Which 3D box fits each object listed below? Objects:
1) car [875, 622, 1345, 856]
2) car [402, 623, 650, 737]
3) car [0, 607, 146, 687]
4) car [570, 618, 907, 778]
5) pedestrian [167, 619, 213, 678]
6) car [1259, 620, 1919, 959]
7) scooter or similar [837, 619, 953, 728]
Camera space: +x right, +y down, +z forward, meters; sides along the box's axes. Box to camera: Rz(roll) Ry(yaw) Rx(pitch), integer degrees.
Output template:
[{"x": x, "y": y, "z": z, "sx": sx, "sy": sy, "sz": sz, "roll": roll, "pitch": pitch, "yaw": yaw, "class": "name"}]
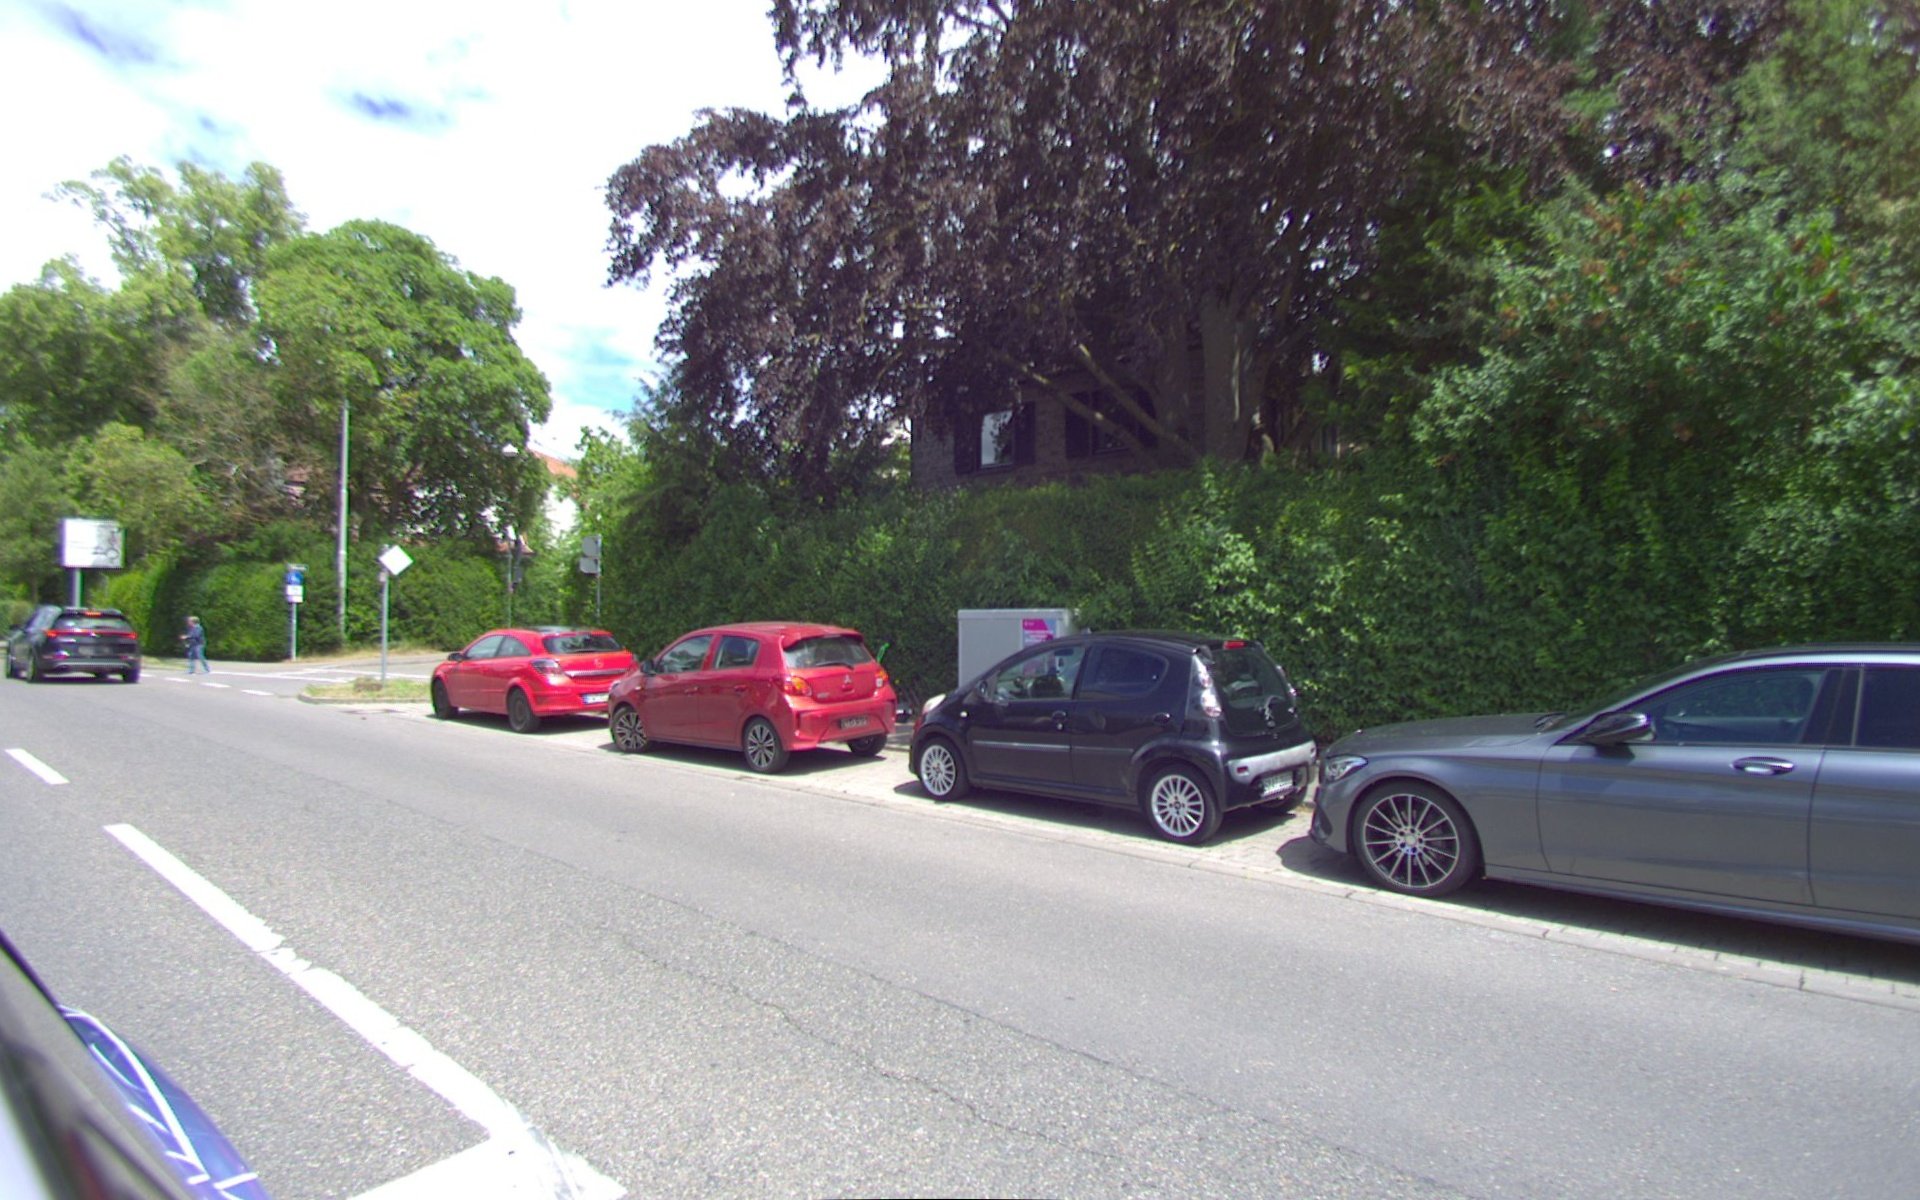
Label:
[{"x": 1.085, "y": 0.936, "z": 8.348, "sx": 3.596, "sy": 1.461, "sz": 1.578, "roll": 0, "pitch": -1, "yaw": 43, "class": "car"}, {"x": -6.566, "y": 1.063, "z": 15.051, "sx": 4.565, "sy": 1.388, "sz": 1.643, "roll": 0, "pitch": -1, "yaw": 42, "class": "car"}, {"x": -19.881, "y": 1.000, "z": 22.596, "sx": 4.148, "sy": 1.629, "sz": 1.815, "roll": 0, "pitch": -3, "yaw": 40, "class": "car"}, {"x": -2.638, "y": 0.952, "z": 11.487, "sx": 4.103, "sy": 1.461, "sz": 1.632, "roll": 0, "pitch": -1, "yaw": 41, "class": "car"}, {"x": -20.369, "y": 1.267, "z": 26.789, "sx": 0.620, "sy": 1.520, "sz": 0.730, "roll": 0, "pitch": -1, "yaw": 5, "class": "pedestrian"}, {"x": 4.141, "y": 0.827, "z": 5.305, "sx": 4.684, "sy": 1.376, "sz": 1.677, "roll": 0, "pitch": 0, "yaw": 41, "class": "car"}, {"x": -0.921, "y": 0.976, "z": 14.012, "sx": 1.649, "sy": 1.423, "sz": 0.663, "roll": -1, "pitch": -1, "yaw": 43, "class": "scooter or similar"}]
